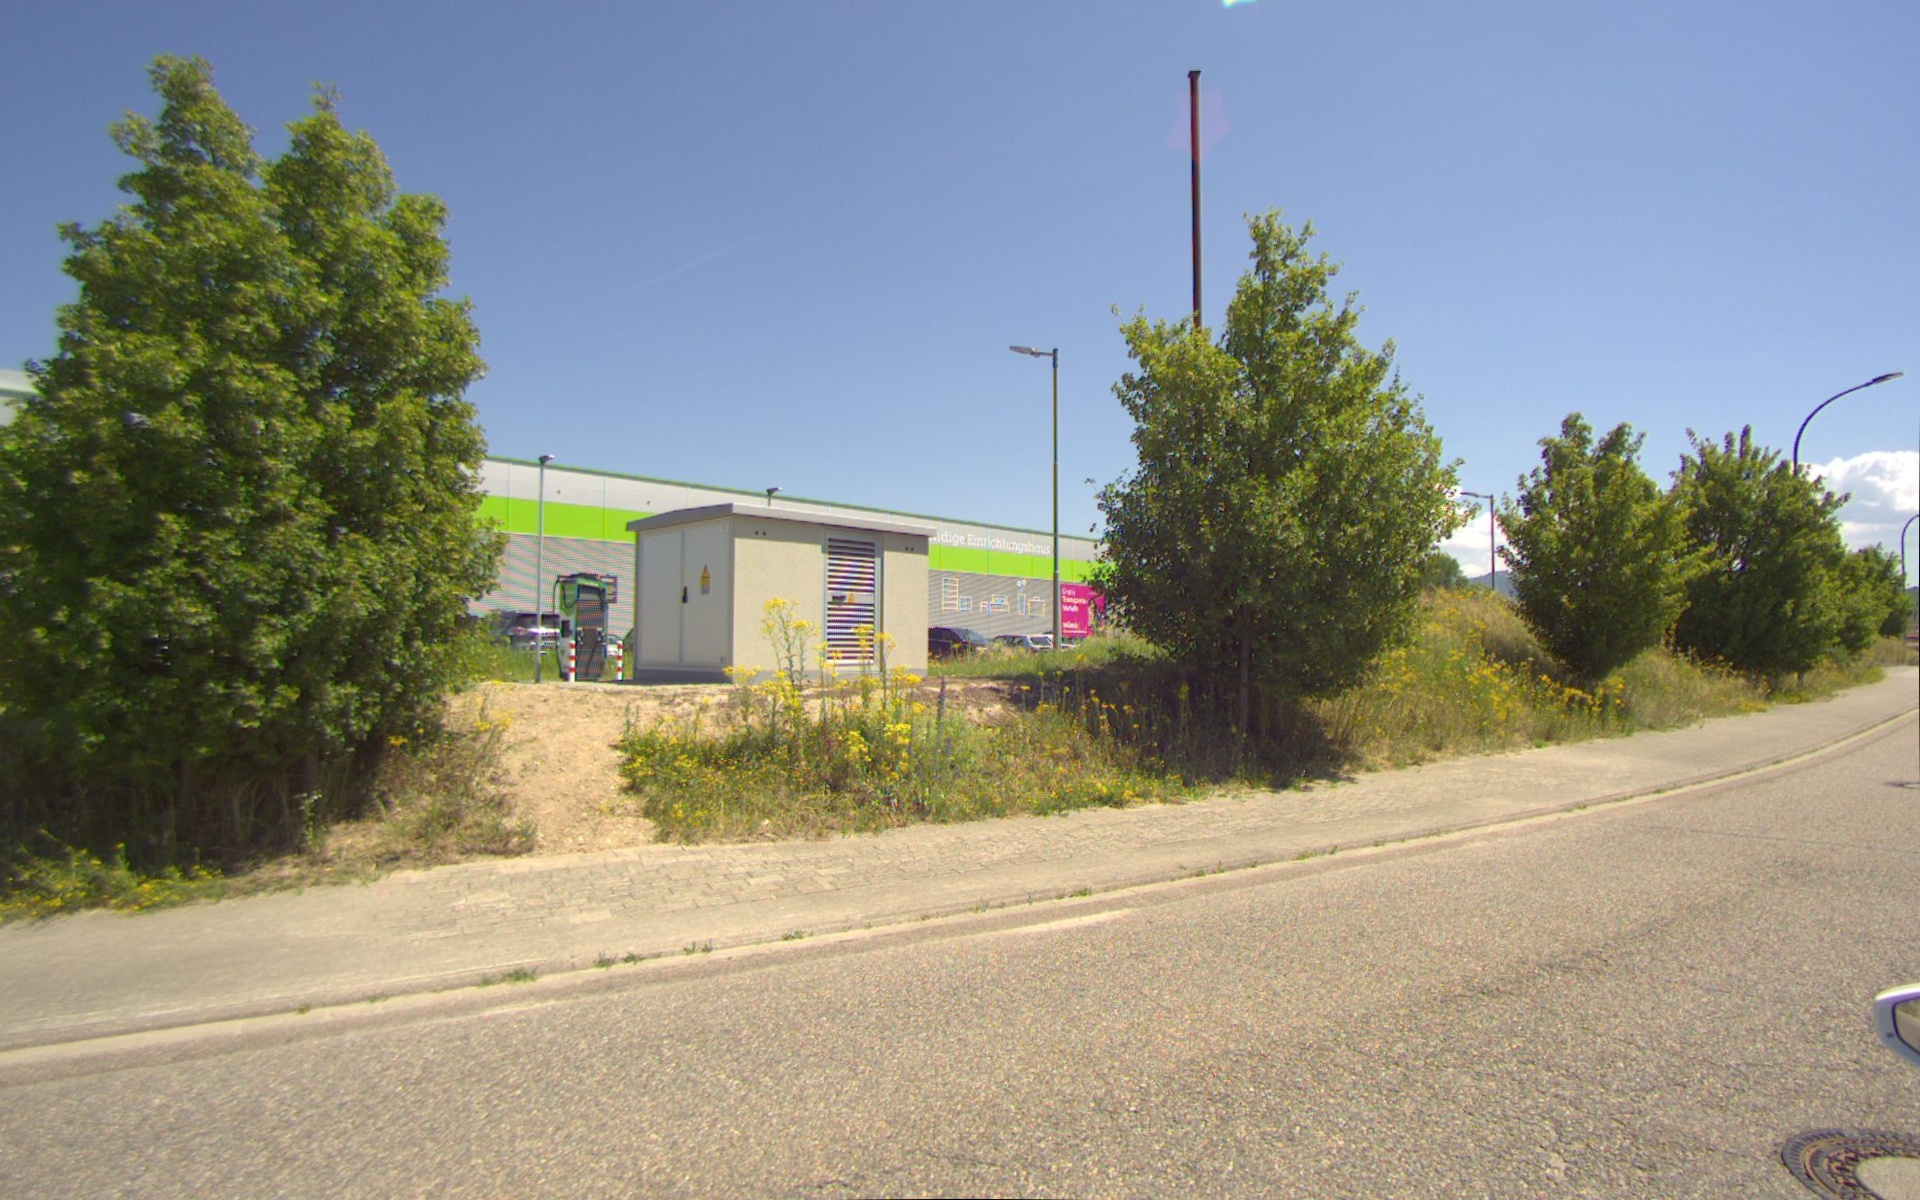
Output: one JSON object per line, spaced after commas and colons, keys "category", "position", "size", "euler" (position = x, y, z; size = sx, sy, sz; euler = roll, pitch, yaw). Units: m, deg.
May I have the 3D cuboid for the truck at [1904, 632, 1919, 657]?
{"category": "truck", "position": [113.861, 5.235, 118.863], "size": [2.650, 2.809, 6.064], "euler": [-1, -1, 38]}
